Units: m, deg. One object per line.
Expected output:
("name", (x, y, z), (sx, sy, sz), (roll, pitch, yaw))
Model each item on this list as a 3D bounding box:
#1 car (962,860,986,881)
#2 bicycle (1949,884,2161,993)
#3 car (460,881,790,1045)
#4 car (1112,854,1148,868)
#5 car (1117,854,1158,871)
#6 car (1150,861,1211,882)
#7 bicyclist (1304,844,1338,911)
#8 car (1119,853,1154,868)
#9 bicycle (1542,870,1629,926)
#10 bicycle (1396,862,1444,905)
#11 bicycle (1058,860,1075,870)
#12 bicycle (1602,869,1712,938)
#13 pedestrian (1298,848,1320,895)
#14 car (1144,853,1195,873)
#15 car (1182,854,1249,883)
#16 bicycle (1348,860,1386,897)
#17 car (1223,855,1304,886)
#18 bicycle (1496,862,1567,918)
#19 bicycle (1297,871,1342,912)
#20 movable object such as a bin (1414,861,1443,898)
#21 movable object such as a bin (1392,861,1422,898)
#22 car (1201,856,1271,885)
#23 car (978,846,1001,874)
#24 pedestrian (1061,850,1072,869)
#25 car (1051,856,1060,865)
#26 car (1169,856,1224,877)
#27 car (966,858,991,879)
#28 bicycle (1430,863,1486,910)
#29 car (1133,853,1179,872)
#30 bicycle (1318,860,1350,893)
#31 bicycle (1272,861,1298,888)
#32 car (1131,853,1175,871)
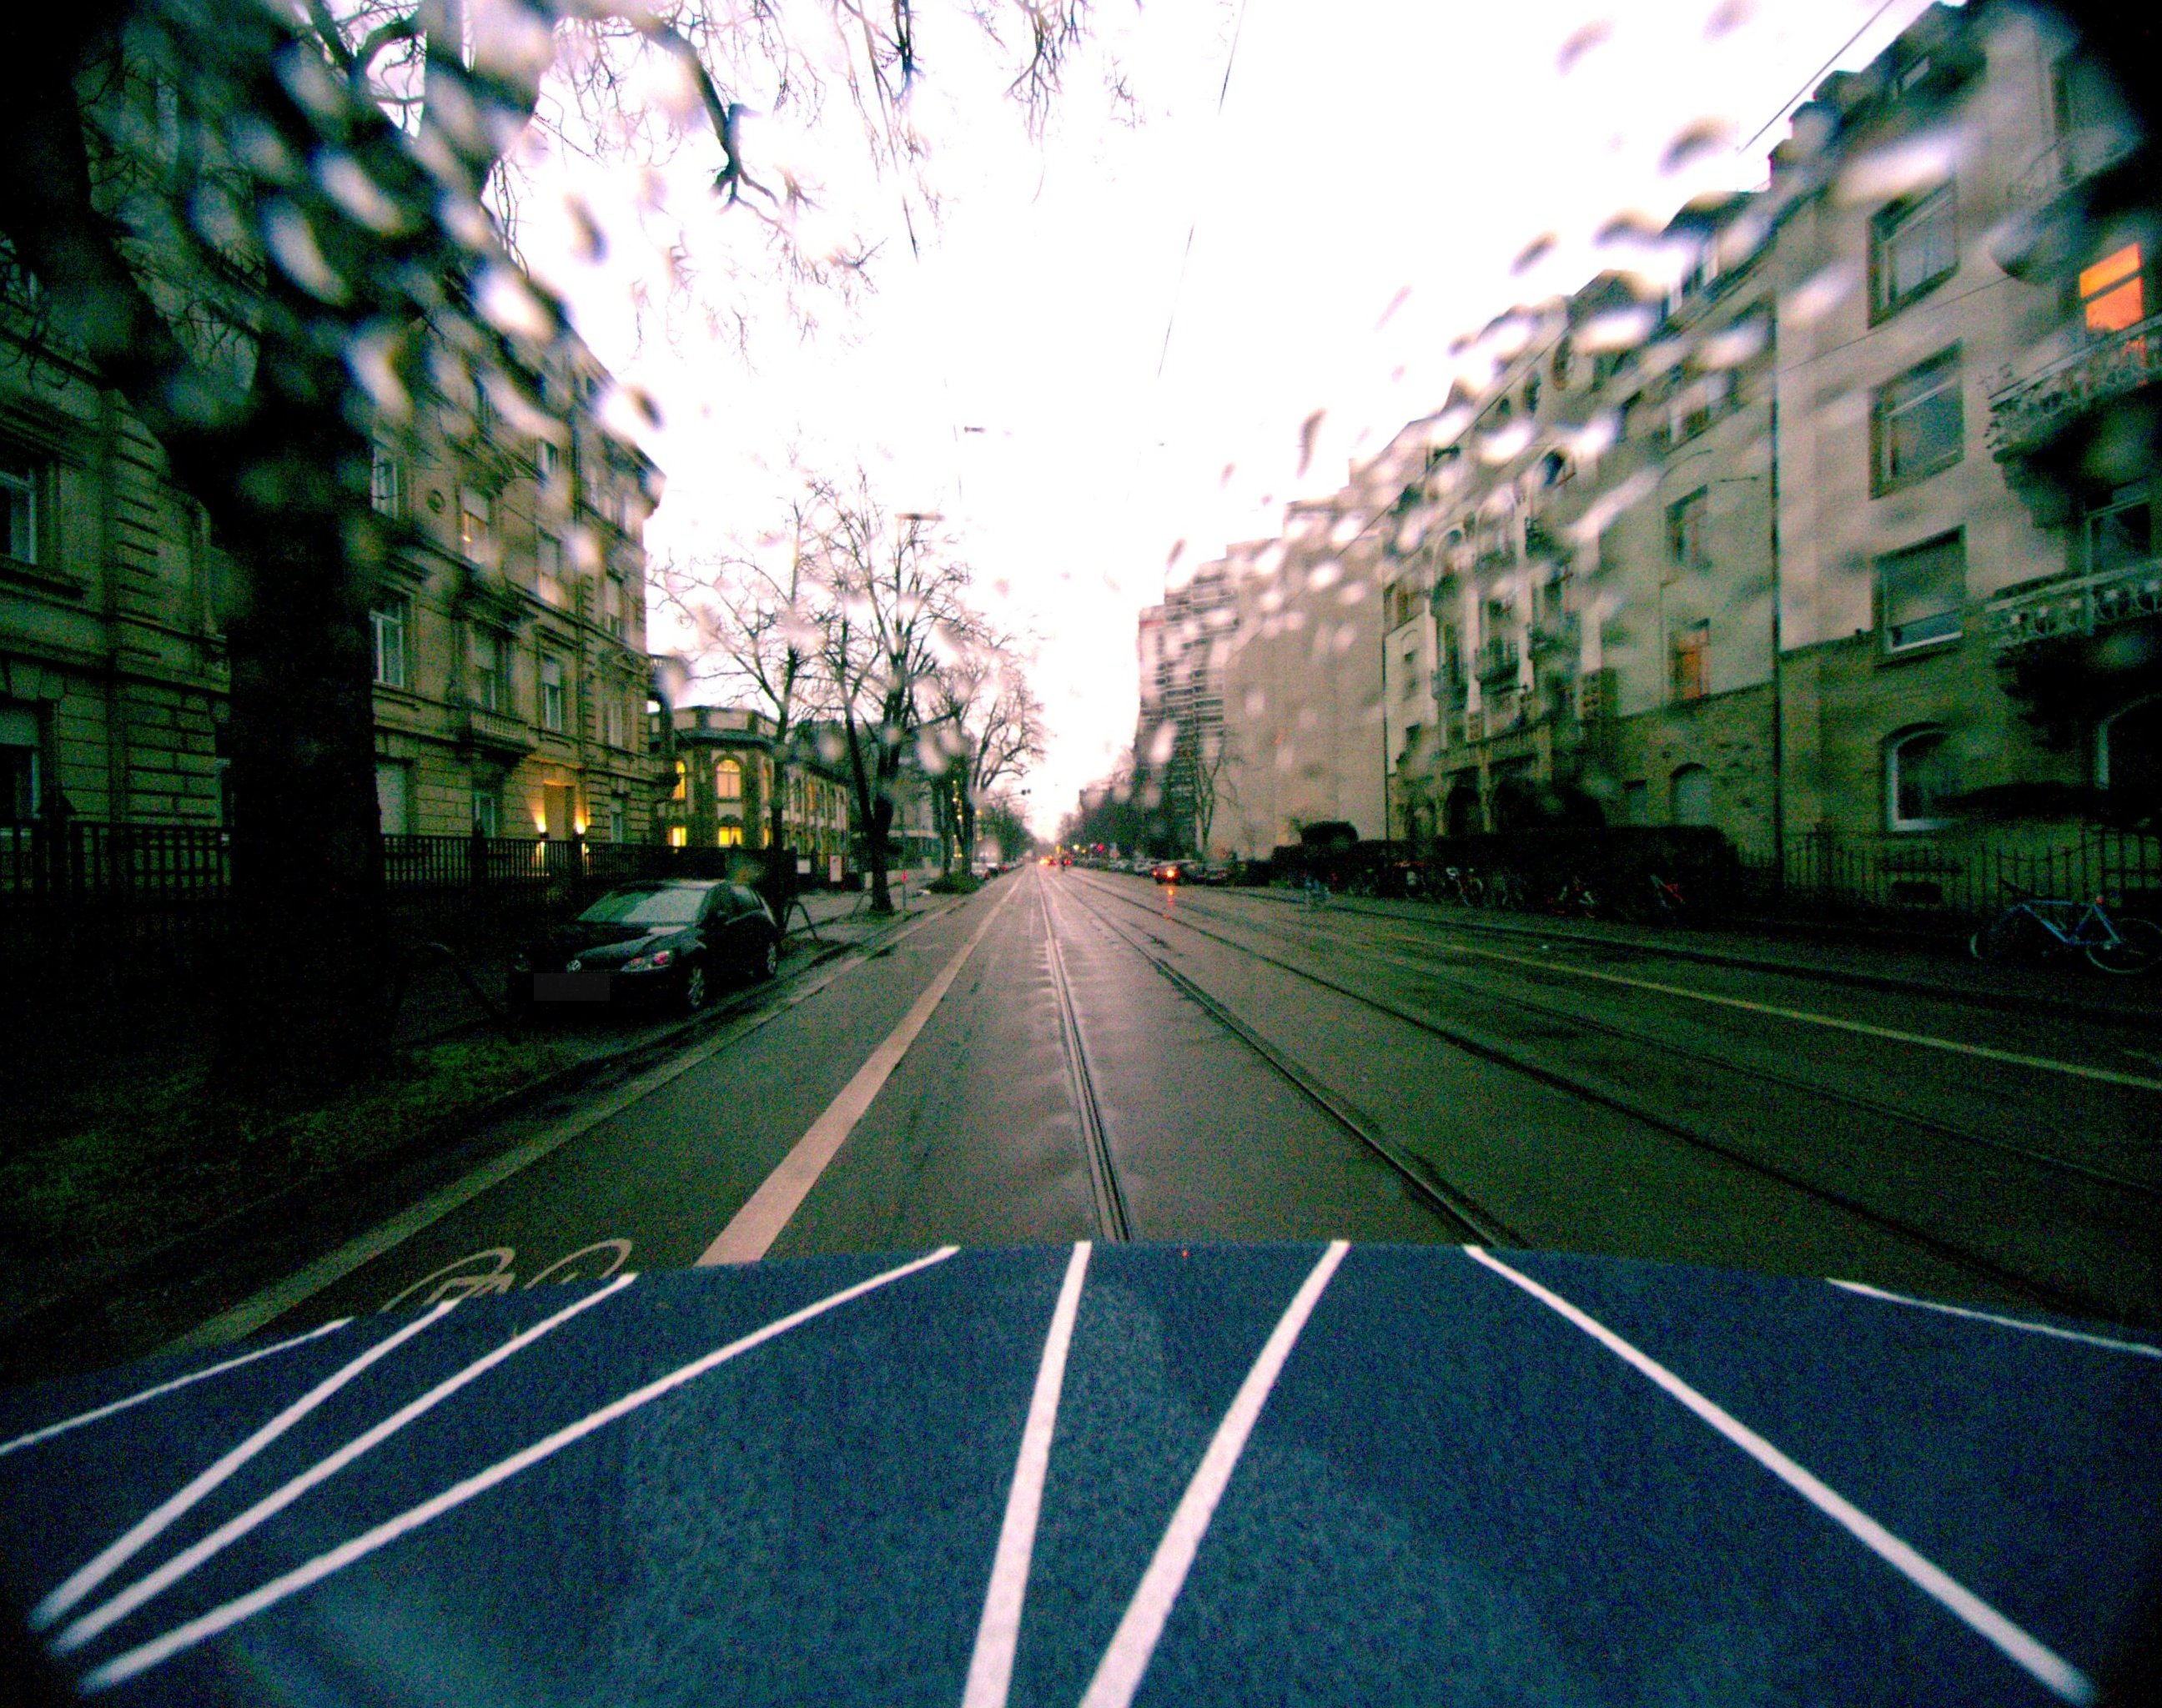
("car", (-7.978, 1.213, 56.971), (1.628, 1.399, 3.997), (-2, 1, -6))
("bicycle", (10.730, 0.862, 8.283), (0.625, 0.997, 1.662), (-1, 0, -1))
("car", (-5.102, 1.110, 9.276), (1.763, 1.437, 4.156), (1, -1, -4))
("car", (5.900, 0.806, 91.417), (4.008, 1.586, 1.864), (-2, 0, -40))
("car", (5.803, 0.901, 77.985), (4.008, 1.586, 1.864), (-2, 0, -40))
("car", (6.181, 1.054, 46.890), (3.673, 1.245, 1.707), (0, 0, -41))
("bicyclist", (6.831, 0.666, 21.679), (0.625, 1.865, 0.991), (-1, 0, -1))
("car", (6.530, 0.731, 89.237), (4.008, 1.586, 1.864), (-2, 0, -40))
("bicycle", (10.396, 0.876, 15.736), (0.625, 1.059, 1.726), (-1, 0, -1))
("bicycle", (9.934, 0.844, 22.332), (0.625, 1.205, 1.662), (-1, 0, -1))
("bicycle", (-1.694, 1.264, 88.268), (1.918, 0.986, 0.858), (-2, 1, -5))
("bicycle", (10.419, 0.859, 13.825), (0.625, 1.119, 1.783), (-1, 0, -1))
("pedestrian", (8.490, 0.631, 28.328), (0.574, 1.715, 0.644), (-3, 2, 1))
("car", (7.371, 0.753, 63.110), (4.008, 1.586, 1.864), (-2, 0, -40))
("car", (8.168, 0.859, 46.003), (4.008, 1.586, 1.864), (-2, 0, -40))
("bicycle", (9.793, 0.831, 26.078), (0.625, 1.205, 1.662), (-1, 0, -1))
("car", (9.740, 0.846, 40.518), (4.006, 1.485, 1.864), (-2, 0, -32))
("bicycle", (10.324, 0.798, 17.483), (0.625, 1.205, 1.662), (-1, 0, -1))
("bicycle", (6.838, 1.060, 21.876), (0.625, 1.086, 1.947), (-1, 0, -1))
("movable object such as a bin", (11.250, 0.807, 24.627), (0.625, 1.157, 0.674), (-1, 0, -1))
("movable object such as a bin", (10.558, 0.828, 24.615), (0.659, 1.157, 0.674), (-1, 0, -1))
("car", (8.820, 0.896, 43.074), (4.008, 1.477, 1.760), (-2, 0, -40))
("car", (-9.265, 0.572, 77.103), (2.094, 2.622, 5.446), (-2, 1, -6))
("pedestrian", (-1.714, 0.627, 88.255), (1.118, 2.246, 0.952), (-2, 1, -6))
("car", (-6.705, 1.679, 199.848), (2.239, 2.002, 4.458), (-2, 1, -5))
("car", (8.695, 0.945, 56.971), (4.008, 1.440, 1.864), (-2, 0, -40))
("car", (-9.010, 1.249, 67.141), (2.000, 1.672, 3.997), (-2, 1, -6))
("bicycle", (9.978, 0.833, 20.186), (0.625, 1.157, 1.662), (-1, 0, -1))
("car", (6.917, 0.794, 69.617), (4.008, 1.586, 1.864), (-2, 0, -40))
("bicycle", (9.522, 0.825, 28.629), (0.625, 1.205, 1.662), (-1, 0, -1))
("bicycle", (9.071, 0.911, 33.822), (0.625, 1.157, 1.662), (-2, 0, -1))
("car", (6.878, 0.775, 72.688), (4.008, 1.586, 1.864), (-2, 0, -40))
